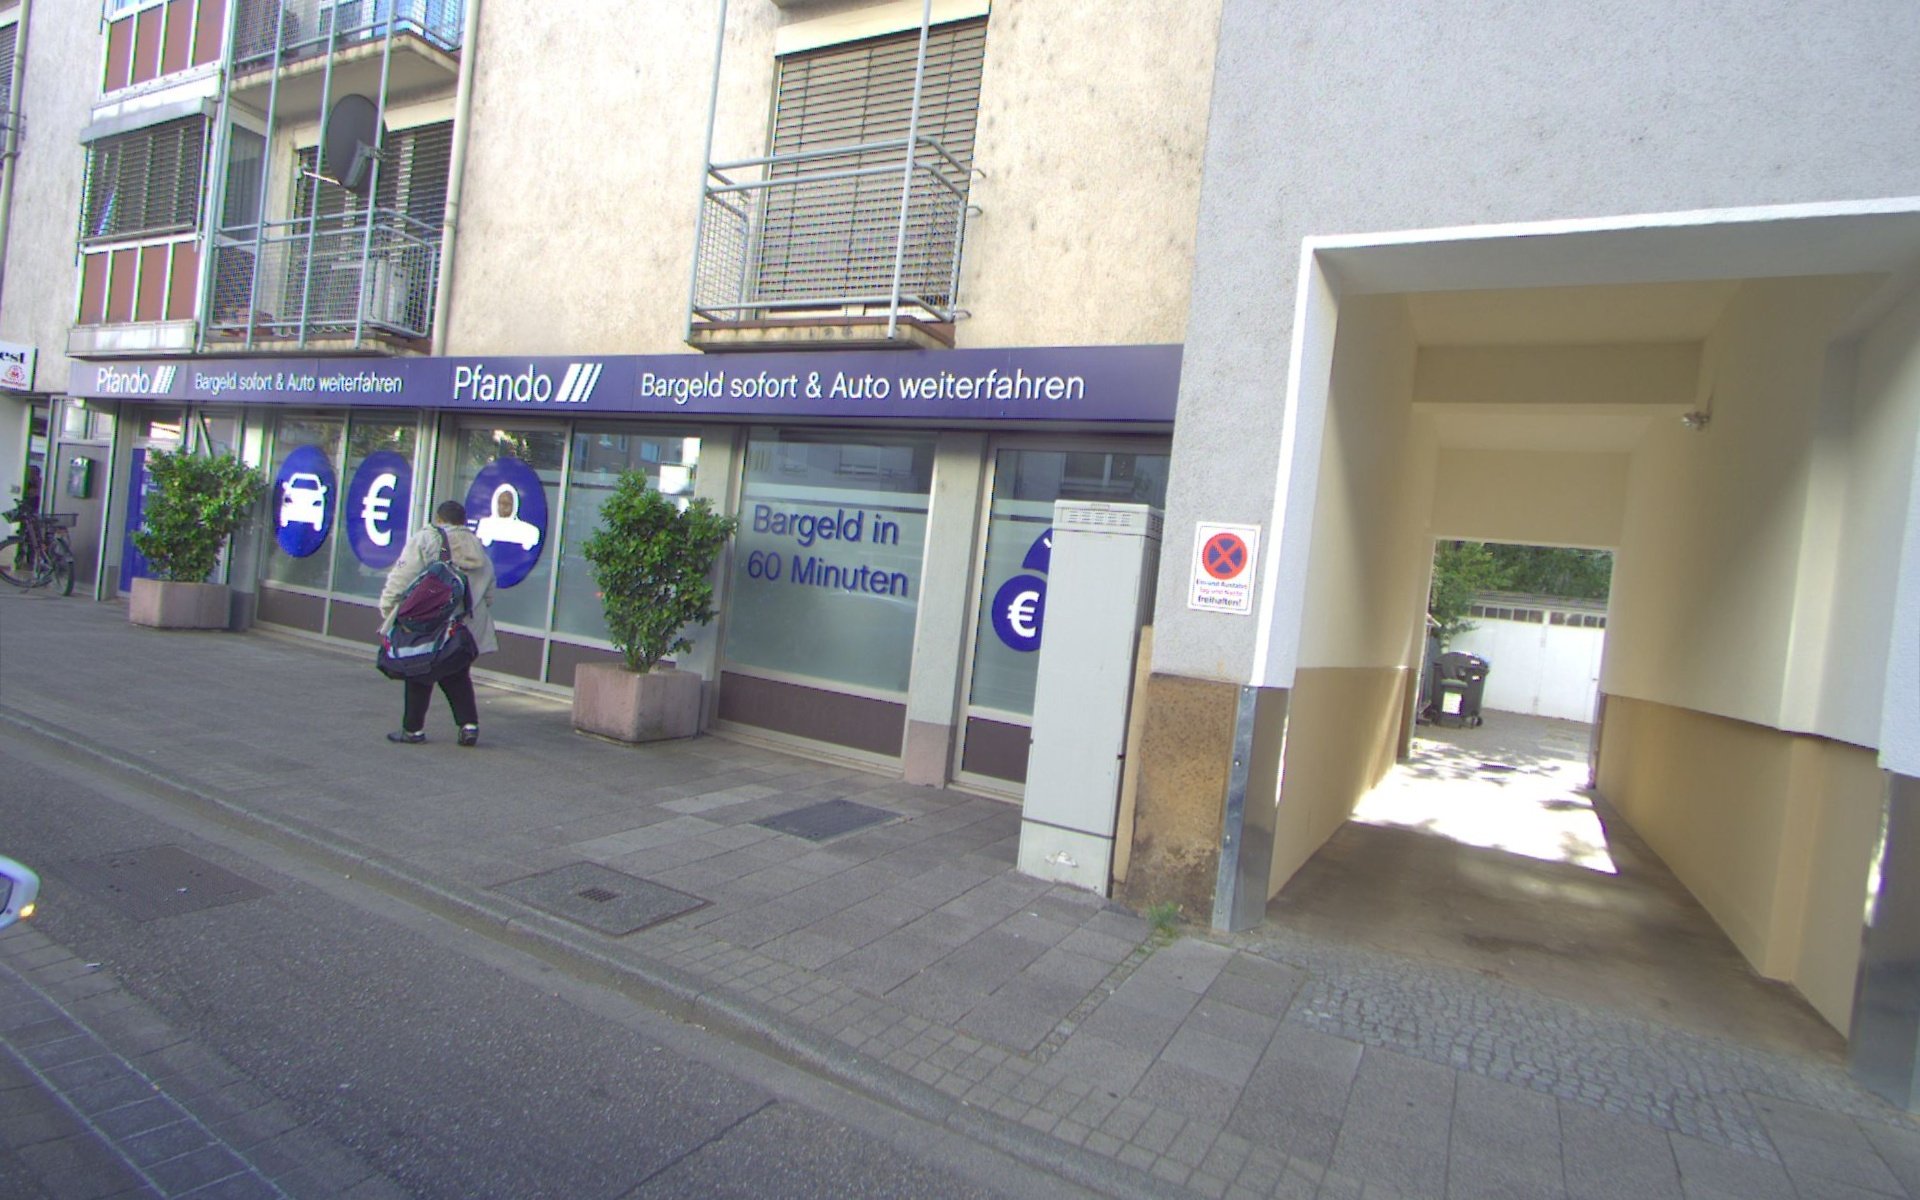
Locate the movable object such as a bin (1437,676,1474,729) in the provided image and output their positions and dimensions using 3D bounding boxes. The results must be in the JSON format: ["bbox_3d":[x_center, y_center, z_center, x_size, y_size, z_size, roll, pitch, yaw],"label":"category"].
[{"bbox_3d":[9.578,1.972,19.450,0.518,0.922,0.580,7,1,29],"label":"movable object such as a bin"}]

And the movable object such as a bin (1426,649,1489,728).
[{"bbox_3d":[10.130,1.779,20.453,0.945,1.426,1.598,7,1,29],"label":"movable object such as a bin"}]

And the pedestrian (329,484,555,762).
[{"bbox_3d":[-3.326,0.130,6.491,0.853,1.593,0.874,8,3,29],"label":"pedestrian"}]

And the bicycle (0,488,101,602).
[{"bbox_3d":[-11.827,-0.731,12.875,1.879,1.280,0.640,7,1,32],"label":"bicycle"}]
